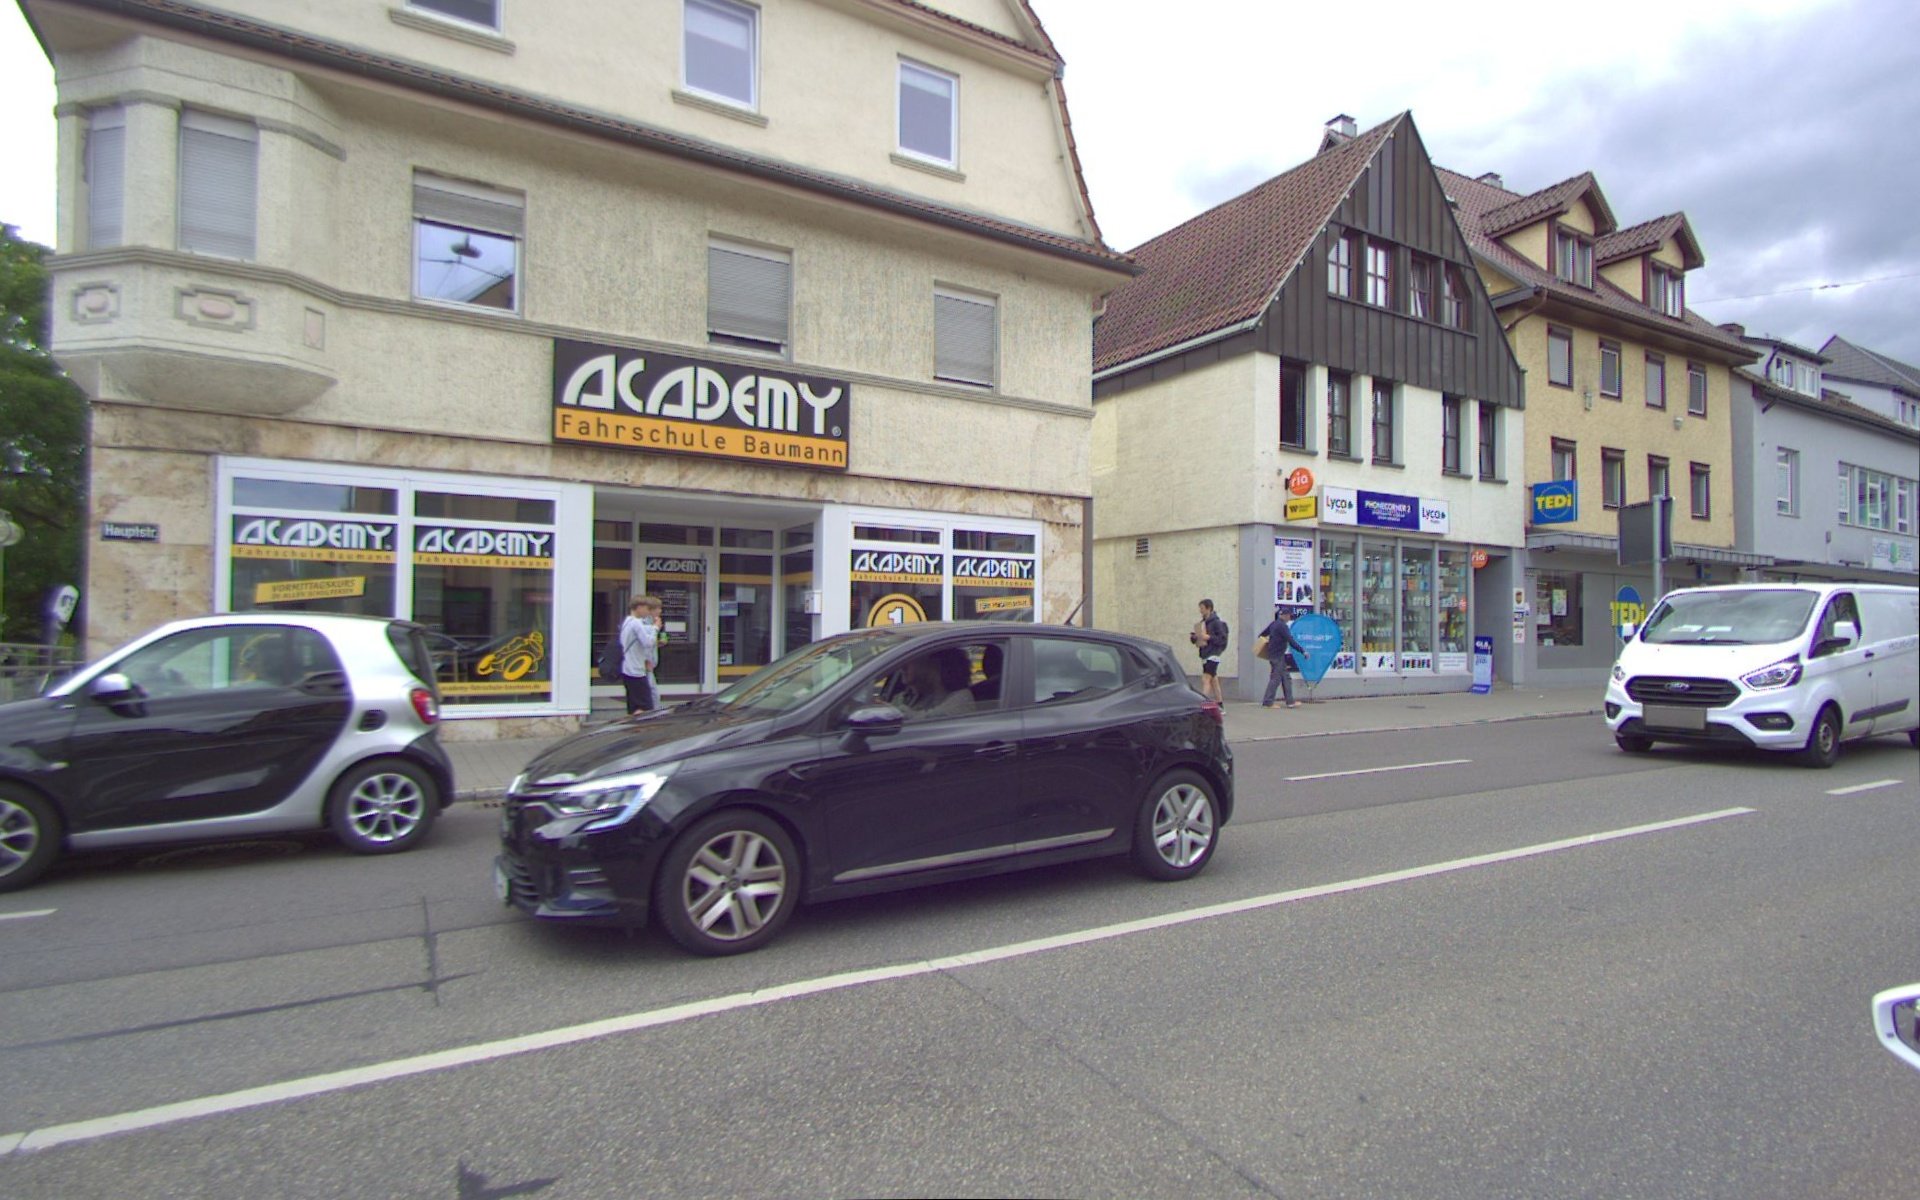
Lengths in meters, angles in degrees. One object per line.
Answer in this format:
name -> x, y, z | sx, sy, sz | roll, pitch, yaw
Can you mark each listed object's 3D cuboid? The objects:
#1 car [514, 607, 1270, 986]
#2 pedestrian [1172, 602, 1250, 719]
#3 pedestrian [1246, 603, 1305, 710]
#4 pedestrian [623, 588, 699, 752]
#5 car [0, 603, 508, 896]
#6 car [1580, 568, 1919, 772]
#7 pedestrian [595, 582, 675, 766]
car -> -0.258, 0.807, 5.551 | 3.877, 1.447, 1.609 | 1, -2, -31
pedestrian -> 3.993, 0.941, 16.011 | 0.798, 1.770, 0.861 | 0, 2, -35
pedestrian -> 5.493, 0.951, 17.464 | 0.791, 1.770, 0.868 | 2, 2, 28
pedestrian -> -3.399, 0.769, 11.410 | 0.673, 1.785, 0.684 | 1, 0, -31
car -> -4.858, 0.836, 6.385 | 3.467, 1.543, 1.609 | 1, -3, -31
car -> 9.761, 0.776, 11.981 | 5.083, 1.986, 1.951 | 1, -3, -32
pedestrian -> -3.422, 0.757, 10.560 | 0.673, 1.848, 0.630 | 1, -2, -31
